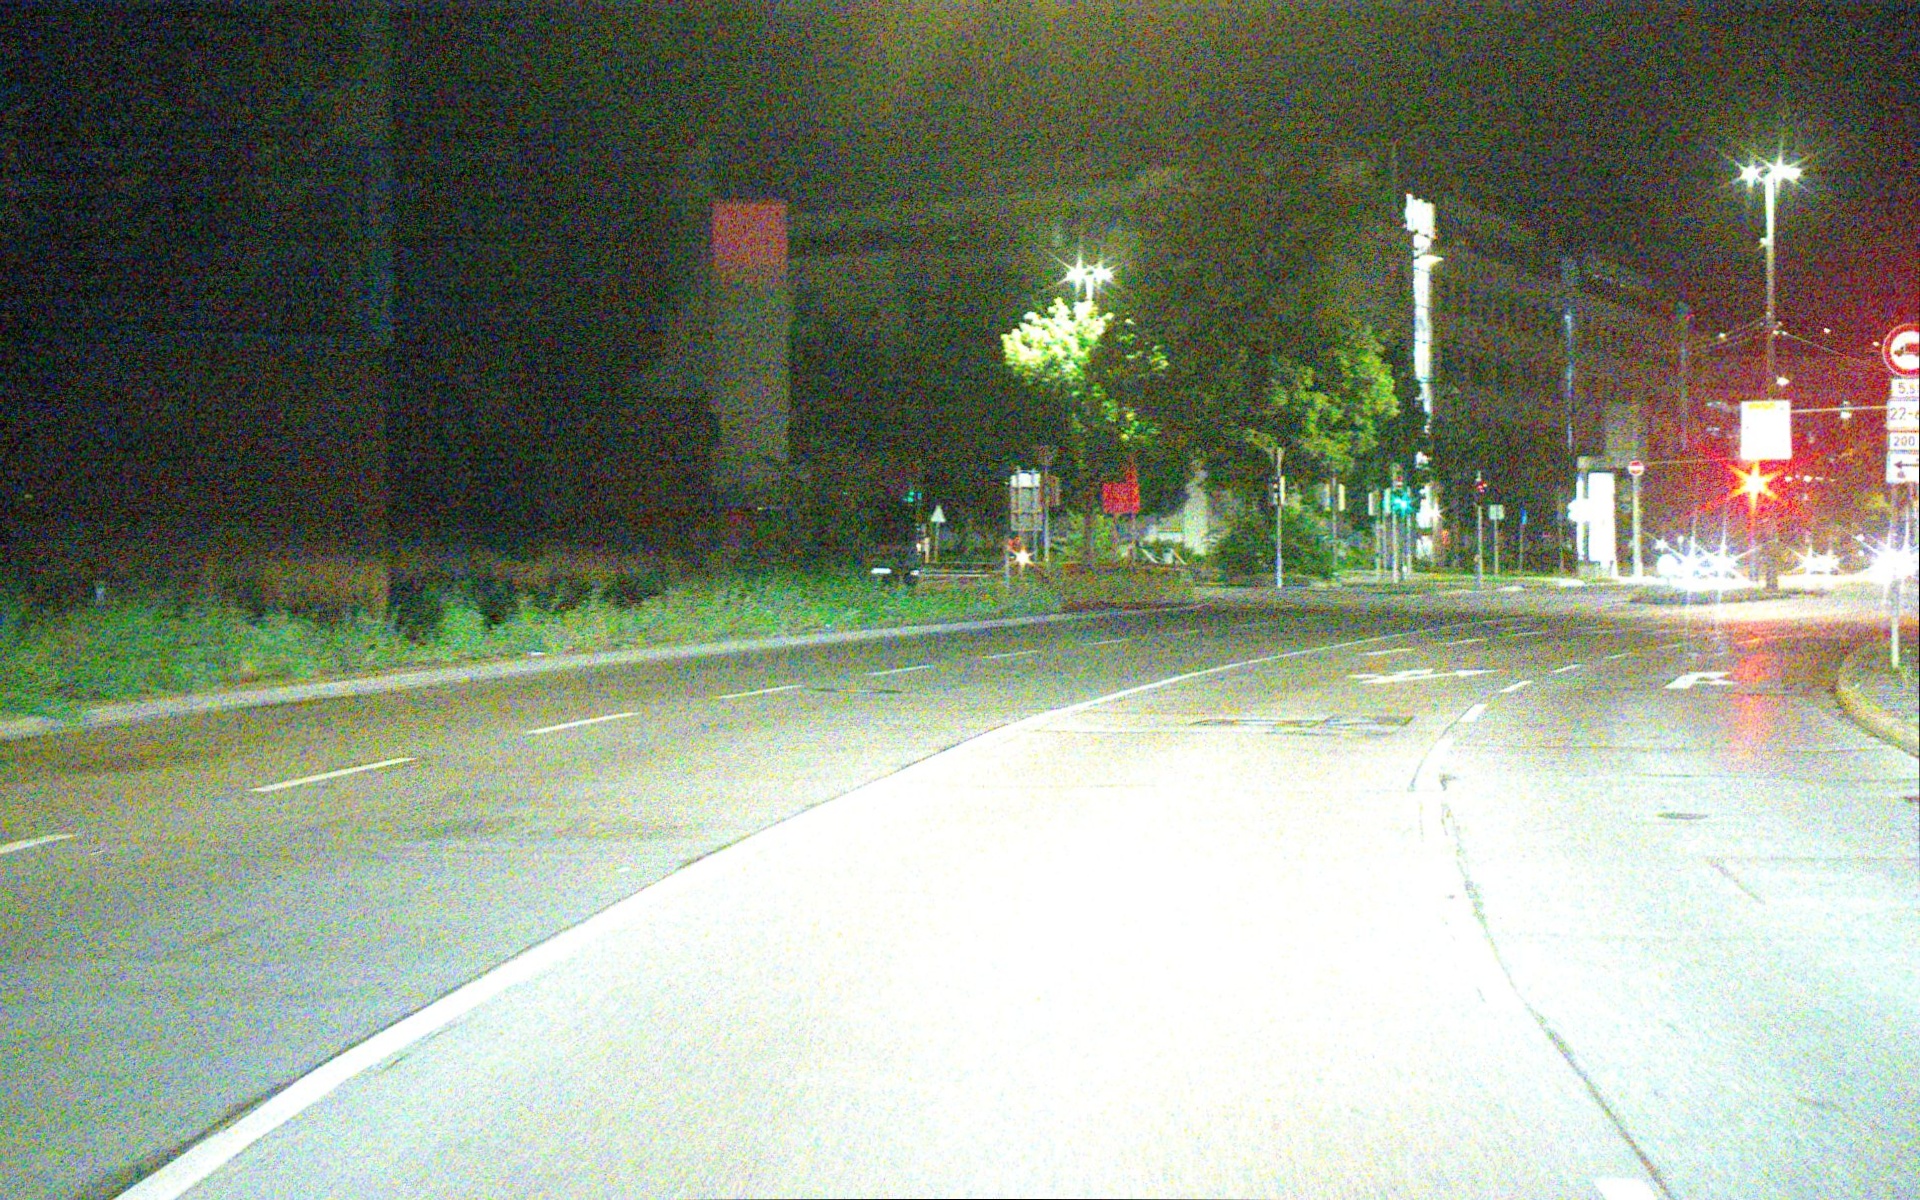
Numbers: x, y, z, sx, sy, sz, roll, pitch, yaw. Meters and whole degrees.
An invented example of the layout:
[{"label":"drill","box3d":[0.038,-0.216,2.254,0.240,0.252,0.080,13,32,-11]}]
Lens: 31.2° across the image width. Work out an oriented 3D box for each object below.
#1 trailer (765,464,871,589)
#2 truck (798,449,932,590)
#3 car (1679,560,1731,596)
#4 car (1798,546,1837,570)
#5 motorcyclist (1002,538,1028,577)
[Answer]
[{"label":"trailer","box3d":[-4.514,-2.287,108.429,2.613,3.778,6.516,1,1,-8]},{"label":"truck","box3d":[-2.796,-2.234,98.002,2.937,3.783,9.560,1,1,-7]},{"label":"car","box3d":[32.136,-0.951,148.227,1.617,1.509,3.996,1,1,20]},{"label":"car","box3d":[47.558,-2.324,190.636,1.759,1.317,3.544,1,1,20]},{"label":"motorcyclist","box3d":[1.778,-1.374,110.712,0.646,1.257,0.579,1,0,-23]}]
